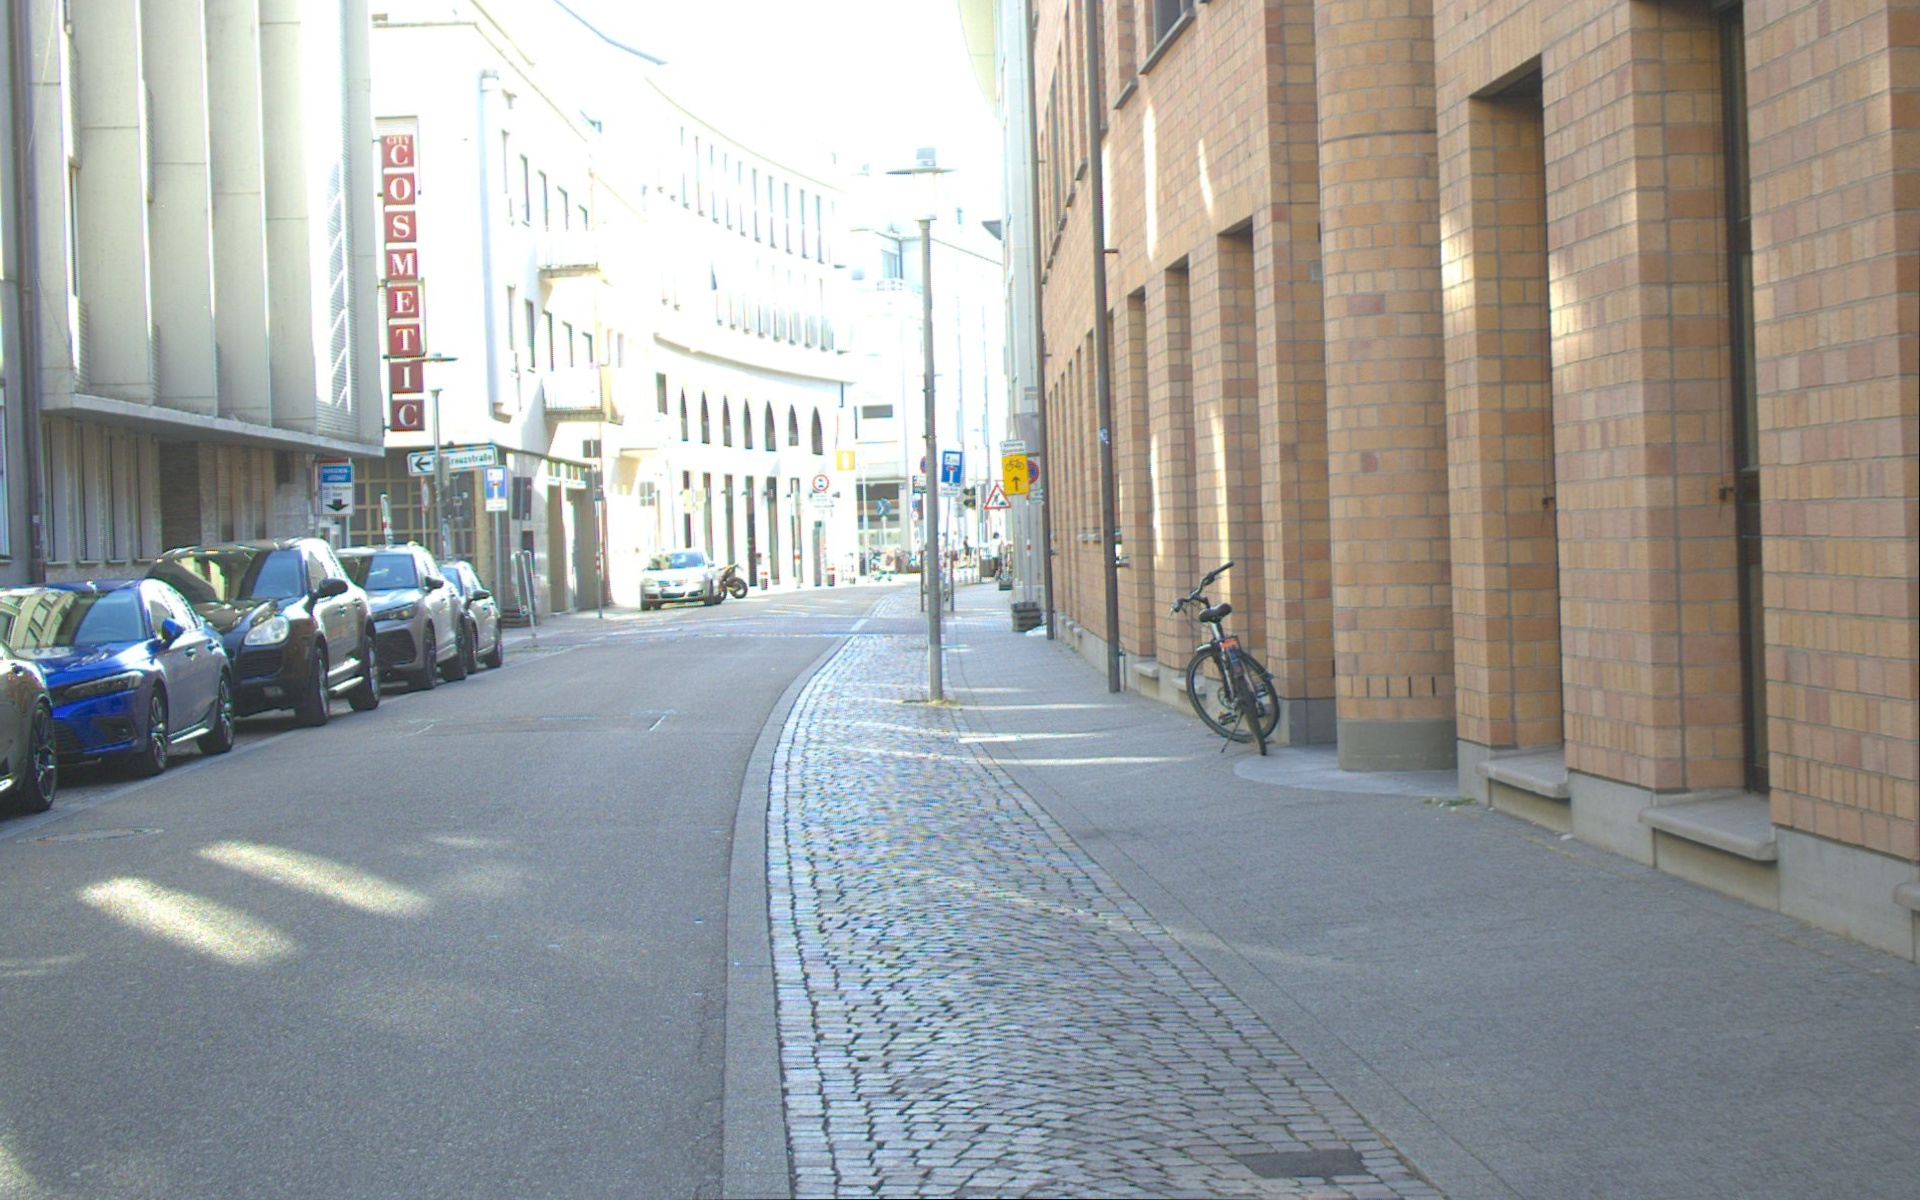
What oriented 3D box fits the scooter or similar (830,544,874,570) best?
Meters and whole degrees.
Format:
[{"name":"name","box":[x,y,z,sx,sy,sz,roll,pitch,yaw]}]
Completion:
[{"name":"scooter or similar","box":[-4.000,-1.599,127.403,0.526,0.925,2.224,0,1,30]}]

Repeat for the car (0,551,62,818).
[{"name":"car","box":[-6.464,0.547,19.199,1.890,1.524,4.729,-2,1,-4]}]

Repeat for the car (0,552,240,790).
[{"name":"car","box":[-6.595,0.468,25.330,1.890,1.524,4.340,-2,1,-4]}]

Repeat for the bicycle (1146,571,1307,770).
[{"name":"bicycle","box":[1.624,0.406,21.254,0.549,1.099,1.983,-5,2,-6]}]

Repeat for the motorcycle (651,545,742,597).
[{"name":"motorcycle","box":[-7.325,-0.806,95.664,2.390,1.312,0.862,-3,1,0]}]

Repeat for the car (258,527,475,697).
[{"name":"car","box":[-6.656,0.078,38.988,1.890,1.736,4.391,-2,1,-4]}]

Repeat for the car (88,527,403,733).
[{"name":"car","box":[-6.452,0.207,31.540,1.890,1.670,4.554,-2,1,0]}]

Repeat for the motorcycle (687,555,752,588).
[{"name":"motorcycle","box":[-6.432,-0.761,91.974,1.691,0.856,0.594,0,0,5]}]

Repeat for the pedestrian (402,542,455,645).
[{"name":"pedestrian","box":[-8.445,-0.107,54.616,0.645,1.620,0.457,-2,1,-42]}]

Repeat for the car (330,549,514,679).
[{"name":"car","box":[-6.834,0.143,44.030,1.648,1.455,3.999,-4,1,0]}]

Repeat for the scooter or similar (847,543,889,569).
[{"name":"scooter or similar","box":[-3.504,-1.679,130.880,0.526,0.925,2.224,0,1,30]}]

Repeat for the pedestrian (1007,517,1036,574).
[{"name":"pedestrian","box":[2.015,-1.768,112.728,0.659,1.862,0.761,0,0,-30]}]

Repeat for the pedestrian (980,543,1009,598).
[{"name":"pedestrian","box":[1.186,-1.014,117.909,0.659,1.862,0.786,0,0,-30]}]

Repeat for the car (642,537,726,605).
[{"name":"car","box":[-6.773,-0.739,84.634,1.736,1.600,3.533,-1,1,0]}]
